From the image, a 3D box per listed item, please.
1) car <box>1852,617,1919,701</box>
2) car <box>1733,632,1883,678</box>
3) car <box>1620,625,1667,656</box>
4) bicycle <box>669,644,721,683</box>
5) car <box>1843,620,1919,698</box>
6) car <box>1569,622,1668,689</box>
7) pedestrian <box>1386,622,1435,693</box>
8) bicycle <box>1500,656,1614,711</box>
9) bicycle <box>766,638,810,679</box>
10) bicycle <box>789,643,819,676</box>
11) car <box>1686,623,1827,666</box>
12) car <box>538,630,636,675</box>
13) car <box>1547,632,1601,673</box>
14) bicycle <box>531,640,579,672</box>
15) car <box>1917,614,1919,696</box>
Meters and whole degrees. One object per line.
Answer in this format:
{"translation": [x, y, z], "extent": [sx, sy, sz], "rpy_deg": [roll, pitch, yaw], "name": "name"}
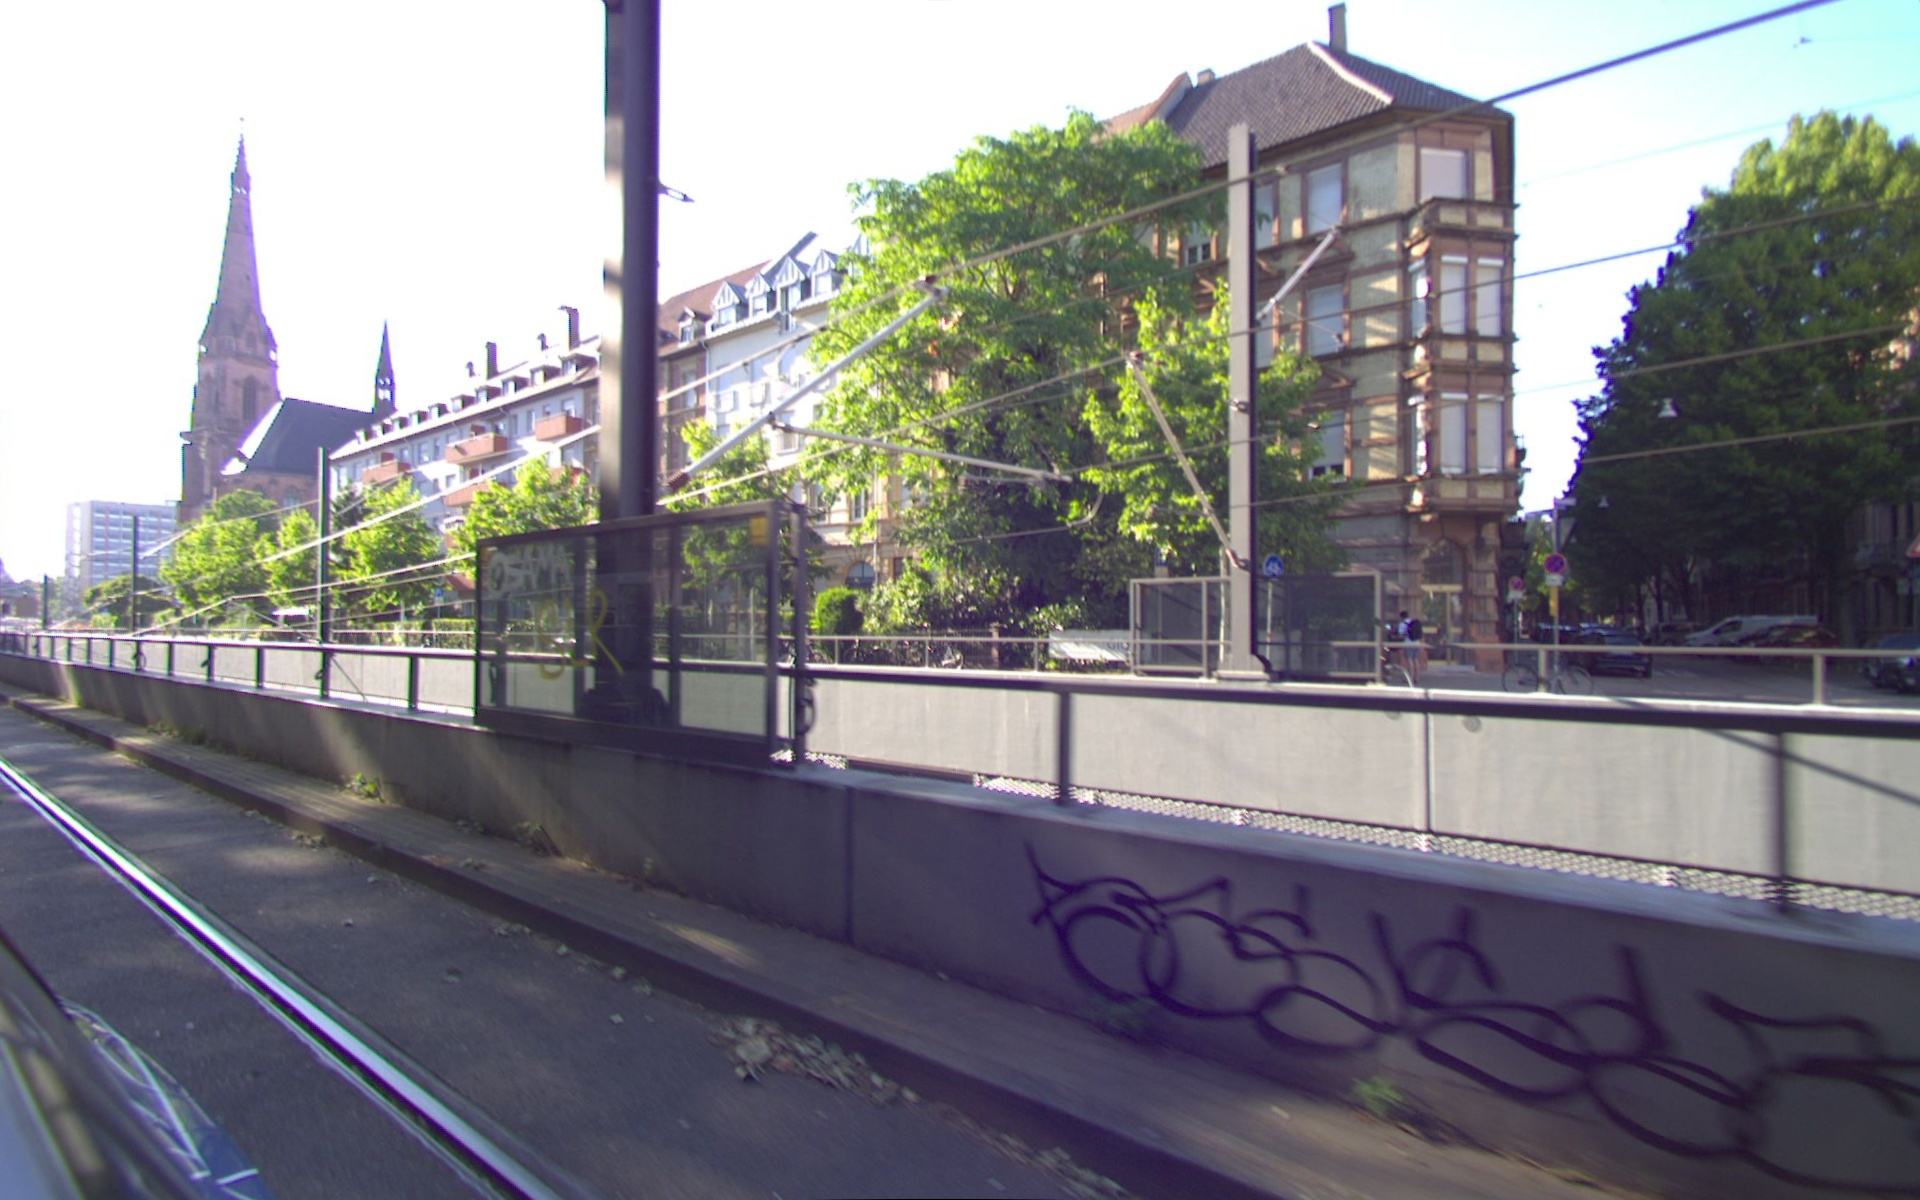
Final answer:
{"translation": [24.028, 1.341, 23.588], "extent": [4.462, 1.863, 1.980], "rpy_deg": [-2, 0, 30], "name": "car"}
{"translation": [33.294, 2.149, 39.878], "extent": [4.196, 1.618, 1.855], "rpy_deg": [-2, 0, 30], "name": "car"}
{"translation": [43.768, 2.556, 64.894], "extent": [1.789, 1.761, 4.128], "rpy_deg": [-2, 0, 25], "name": "car"}
{"translation": [-8.978, 2.136, 34.396], "extent": [0.635, 1.107, 2.779], "rpy_deg": [-2, 0, 8], "name": "bicycle"}
{"translation": [25.599, 1.468, 25.660], "extent": [4.462, 1.863, 1.980], "rpy_deg": [-2, 0, 30], "name": "car"}
{"translation": [21.209, 1.743, 32.769], "extent": [1.988, 1.863, 4.410], "rpy_deg": [-2, 0, 25], "name": "car"}
{"translation": [11.141, 1.402, 25.031], "extent": [0.710, 1.701, 0.865], "rpy_deg": [-2, 0, -43], "name": "pedestrian"}
{"translation": [12.143, 1.686, 20.621], "extent": [1.923, 1.013, 0.454], "rpy_deg": [1, 1, 11], "name": "bicycle"}
{"translation": [-5.360, 1.821, 31.759], "extent": [0.551, 1.107, 2.368], "rpy_deg": [-2, 0, 11], "name": "bicycle"}
{"translation": [-4.835, 1.840, 31.425], "extent": [0.533, 0.912, 1.264], "rpy_deg": [-2, 0, 11], "name": "bicycle"}
{"translation": [37.142, 2.089, 47.354], "extent": [4.878, 1.860, 1.855], "rpy_deg": [-2, 0, 30], "name": "car"}
{"translation": [-14.693, 2.019, 39.800], "extent": [3.996, 1.597, 1.814], "rpy_deg": [-2, 0, 39], "name": "car"}
{"translation": [30.704, 2.595, 50.736], "extent": [1.789, 1.761, 4.128], "rpy_deg": [-2, 0, 25], "name": "car"}
{"translation": [-16.965, 2.336, 42.404], "extent": [0.562, 1.187, 1.788], "rpy_deg": [-2, 0, 43], "name": "bicycle"}
{"translation": [23.140, 1.200, 20.922], "extent": [4.462, 1.863, 1.980], "rpy_deg": [-2, 0, 30], "name": "car"}
